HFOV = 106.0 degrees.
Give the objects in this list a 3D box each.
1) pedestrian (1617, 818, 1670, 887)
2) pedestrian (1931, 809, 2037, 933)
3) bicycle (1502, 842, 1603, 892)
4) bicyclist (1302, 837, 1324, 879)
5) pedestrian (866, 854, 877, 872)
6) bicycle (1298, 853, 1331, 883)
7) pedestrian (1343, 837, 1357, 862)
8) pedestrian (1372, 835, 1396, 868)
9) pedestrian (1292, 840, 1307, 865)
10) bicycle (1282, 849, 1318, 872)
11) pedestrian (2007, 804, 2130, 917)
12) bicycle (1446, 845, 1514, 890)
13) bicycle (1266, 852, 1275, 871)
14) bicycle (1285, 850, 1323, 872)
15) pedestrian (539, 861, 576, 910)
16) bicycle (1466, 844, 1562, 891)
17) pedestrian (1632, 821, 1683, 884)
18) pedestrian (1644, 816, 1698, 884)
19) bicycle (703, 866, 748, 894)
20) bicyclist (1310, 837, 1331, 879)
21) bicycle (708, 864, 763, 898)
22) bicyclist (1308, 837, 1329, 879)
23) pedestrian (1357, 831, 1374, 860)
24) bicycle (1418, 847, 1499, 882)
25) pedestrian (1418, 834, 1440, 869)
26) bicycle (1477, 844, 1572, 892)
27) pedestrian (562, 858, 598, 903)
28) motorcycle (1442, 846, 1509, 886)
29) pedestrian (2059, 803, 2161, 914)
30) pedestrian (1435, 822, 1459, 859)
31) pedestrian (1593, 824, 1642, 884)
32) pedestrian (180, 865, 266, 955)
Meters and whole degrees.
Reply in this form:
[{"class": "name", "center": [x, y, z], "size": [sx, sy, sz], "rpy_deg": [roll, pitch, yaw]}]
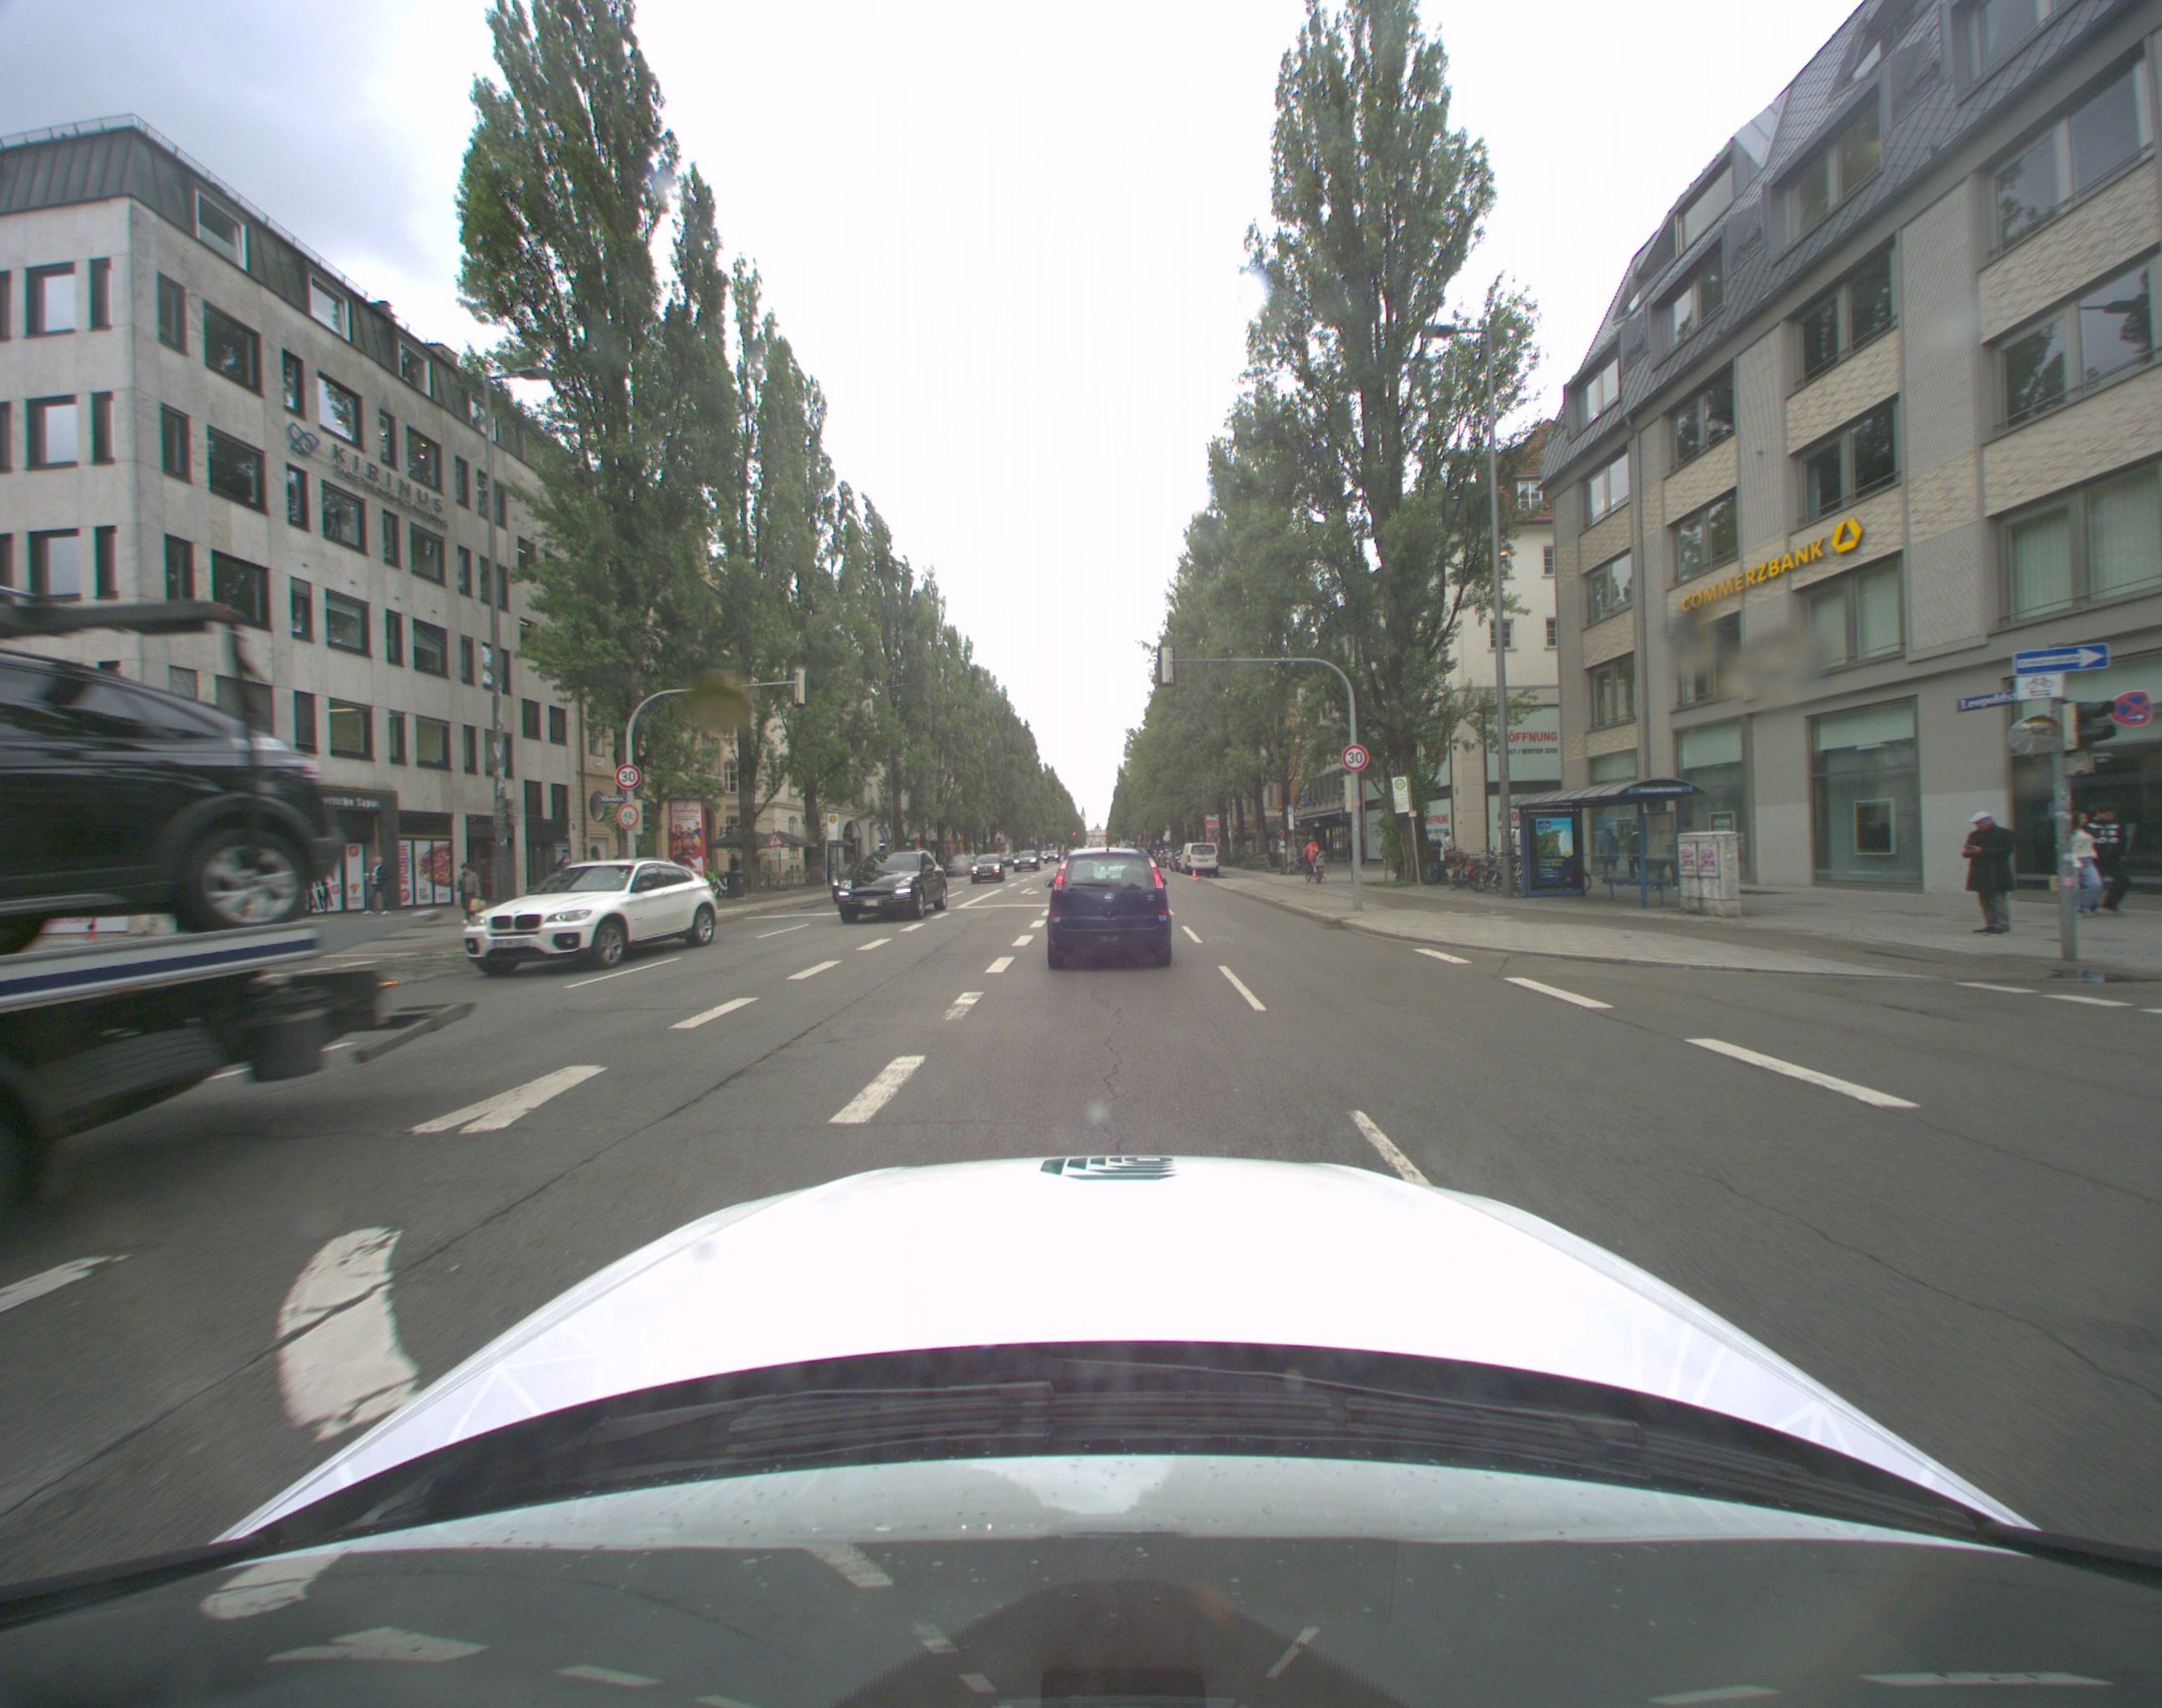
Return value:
[{"class": "pedestrian", "center": [14.855, -0.027, 21.518], "size": [0.747, 1.758, 0.859], "rpy_deg": [-2, -2, 2]}, {"class": "pedestrian", "center": [13.325, 0.245, 12.037], "size": [0.705, 1.758, 0.753], "rpy_deg": [-2, 0, 2]}, {"class": "bicycle", "center": [12.190, 0.353, 21.137], "size": [2.219, 1.252, 0.480], "rpy_deg": [-1, 0, 25]}, {"class": "bicyclist", "center": [9.049, 0.150, 31.785], "size": [0.619, 1.588, 0.753], "rpy_deg": [-2, 0, 0]}, {"class": "pedestrian", "center": [-18.559, 0.789, 72.201], "size": [0.766, 1.537, 0.805], "rpy_deg": [-2, 0, 0]}, {"class": "bicycle", "center": [9.062, 0.512, 31.705], "size": [0.624, 1.086, 2.264], "rpy_deg": [-2, 0, 0]}, {"class": "pedestrian", "center": [17.703, -0.290, 53.597], "size": [0.666, 1.609, 0.773], "rpy_deg": [-4, 1, 8]}, {"class": "pedestrian", "center": [15.467, -0.142, 41.590], "size": [0.815, 1.673, 0.993], "rpy_deg": [-1, 0, 41]}, {"class": "pedestrian", "center": [16.564, -0.132, 61.676], "size": [0.823, 1.841, 1.100], "rpy_deg": [-2, 0, 2]}, {"class": "bicycle", "center": [11.251, 0.335, 41.818], "size": [1.737, 1.110, 0.447], "rpy_deg": [-2, 0, -9]}, {"class": "pedestrian", "center": [16.051, 0.094, 13.265], "size": [0.747, 1.758, 1.018], "rpy_deg": [-2, 1, 2]}, {"class": "bicycle", "center": [11.601, 0.393, 23.688], "size": [1.718, 1.239, 0.450], "rpy_deg": [-2, 0, 2]}, {"class": "bicycle", "center": [10.855, 0.400, 46.712], "size": [0.362, 1.038, 1.735], "rpy_deg": [-2, 0, 9]}, {"class": "bicycle", "center": [11.271, 0.342, 41.167], "size": [1.758, 1.044, 0.482], "rpy_deg": [-2, 0, -10]}, {"class": "pedestrian", "center": [-19.838, 1.184, 30.900], "size": [0.797, 1.787, 0.912], "rpy_deg": [0, 0, 1]}, {"class": "bicycle", "center": [12.179, 0.373, 22.934], "size": [2.335, 1.252, 0.633], "rpy_deg": [-2, 0, 0]}, {"class": "pedestrian", "center": [16.367, -0.044, 23.139], "size": [0.747, 1.717, 0.963], "rpy_deg": [-1, 0, 2]}, {"class": "pedestrian", "center": [15.661, -0.090, 21.641], "size": [0.747, 1.758, 0.859], "rpy_deg": [-2, -2, 2]}, {"class": "bicycle", "center": [-14.519, 1.062, 33.272], "size": [0.502, 1.088, 1.820], "rpy_deg": [0, 0, 24]}, {"class": "bicyclist", "center": [9.043, 0.150, 30.764], "size": [0.619, 1.588, 0.391], "rpy_deg": [-2, 0, 0]}, {"class": "bicycle", "center": [-13.646, 1.050, 32.190], "size": [1.965, 1.289, 0.502], "rpy_deg": [0, 0, -42]}, {"class": "bicyclist", "center": [9.043, 0.150, 31.032], "size": [0.619, 1.588, 0.481], "rpy_deg": [-2, 0, 0]}, {"class": "pedestrian", "center": [18.419, -0.564, 52.762], "size": [0.861, 1.829, 0.841], "rpy_deg": [-2, 0, 28]}, {"class": "bicycle", "center": [11.910, 0.330, 25.732], "size": [2.141, 1.017, 0.874], "rpy_deg": [-2, 0, 0]}, {"class": "pedestrian", "center": [16.885, -0.132, 39.525], "size": [0.649, 1.662, 0.963], "rpy_deg": [-2, 0, 1]}, {"class": "bicycle", "center": [12.130, 0.379, 22.310], "size": [2.307, 1.252, 0.477], "rpy_deg": [-2, 0, 0]}, {"class": "pedestrian", "center": [-19.000, 0.999, 30.890], "size": [0.729, 1.681, 0.978], "rpy_deg": [0, 0, 1]}, {"class": "motorcycle", "center": [11.730, 0.358, 24.265], "size": [1.718, 1.139, 0.510], "rpy_deg": [-2, 0, 2]}, {"class": "pedestrian", "center": [16.816, 0.067, 13.327], "size": [0.747, 1.758, 0.711], "rpy_deg": [-1, 0, 2]}, {"class": "pedestrian", "center": [17.756, -0.655, 39.523], "size": [0.747, 1.717, 0.963], "rpy_deg": [-2, 0, 1]}, {"class": "pedestrian", "center": [15.587, -0.014, 23.681], "size": [0.747, 1.677, 0.963], "rpy_deg": [-2, 0, 2]}, {"class": "pedestrian", "center": [-17.265, 1.107, 16.419], "size": [0.724, 1.740, 0.942], "rpy_deg": [0, 0, 1]}]
